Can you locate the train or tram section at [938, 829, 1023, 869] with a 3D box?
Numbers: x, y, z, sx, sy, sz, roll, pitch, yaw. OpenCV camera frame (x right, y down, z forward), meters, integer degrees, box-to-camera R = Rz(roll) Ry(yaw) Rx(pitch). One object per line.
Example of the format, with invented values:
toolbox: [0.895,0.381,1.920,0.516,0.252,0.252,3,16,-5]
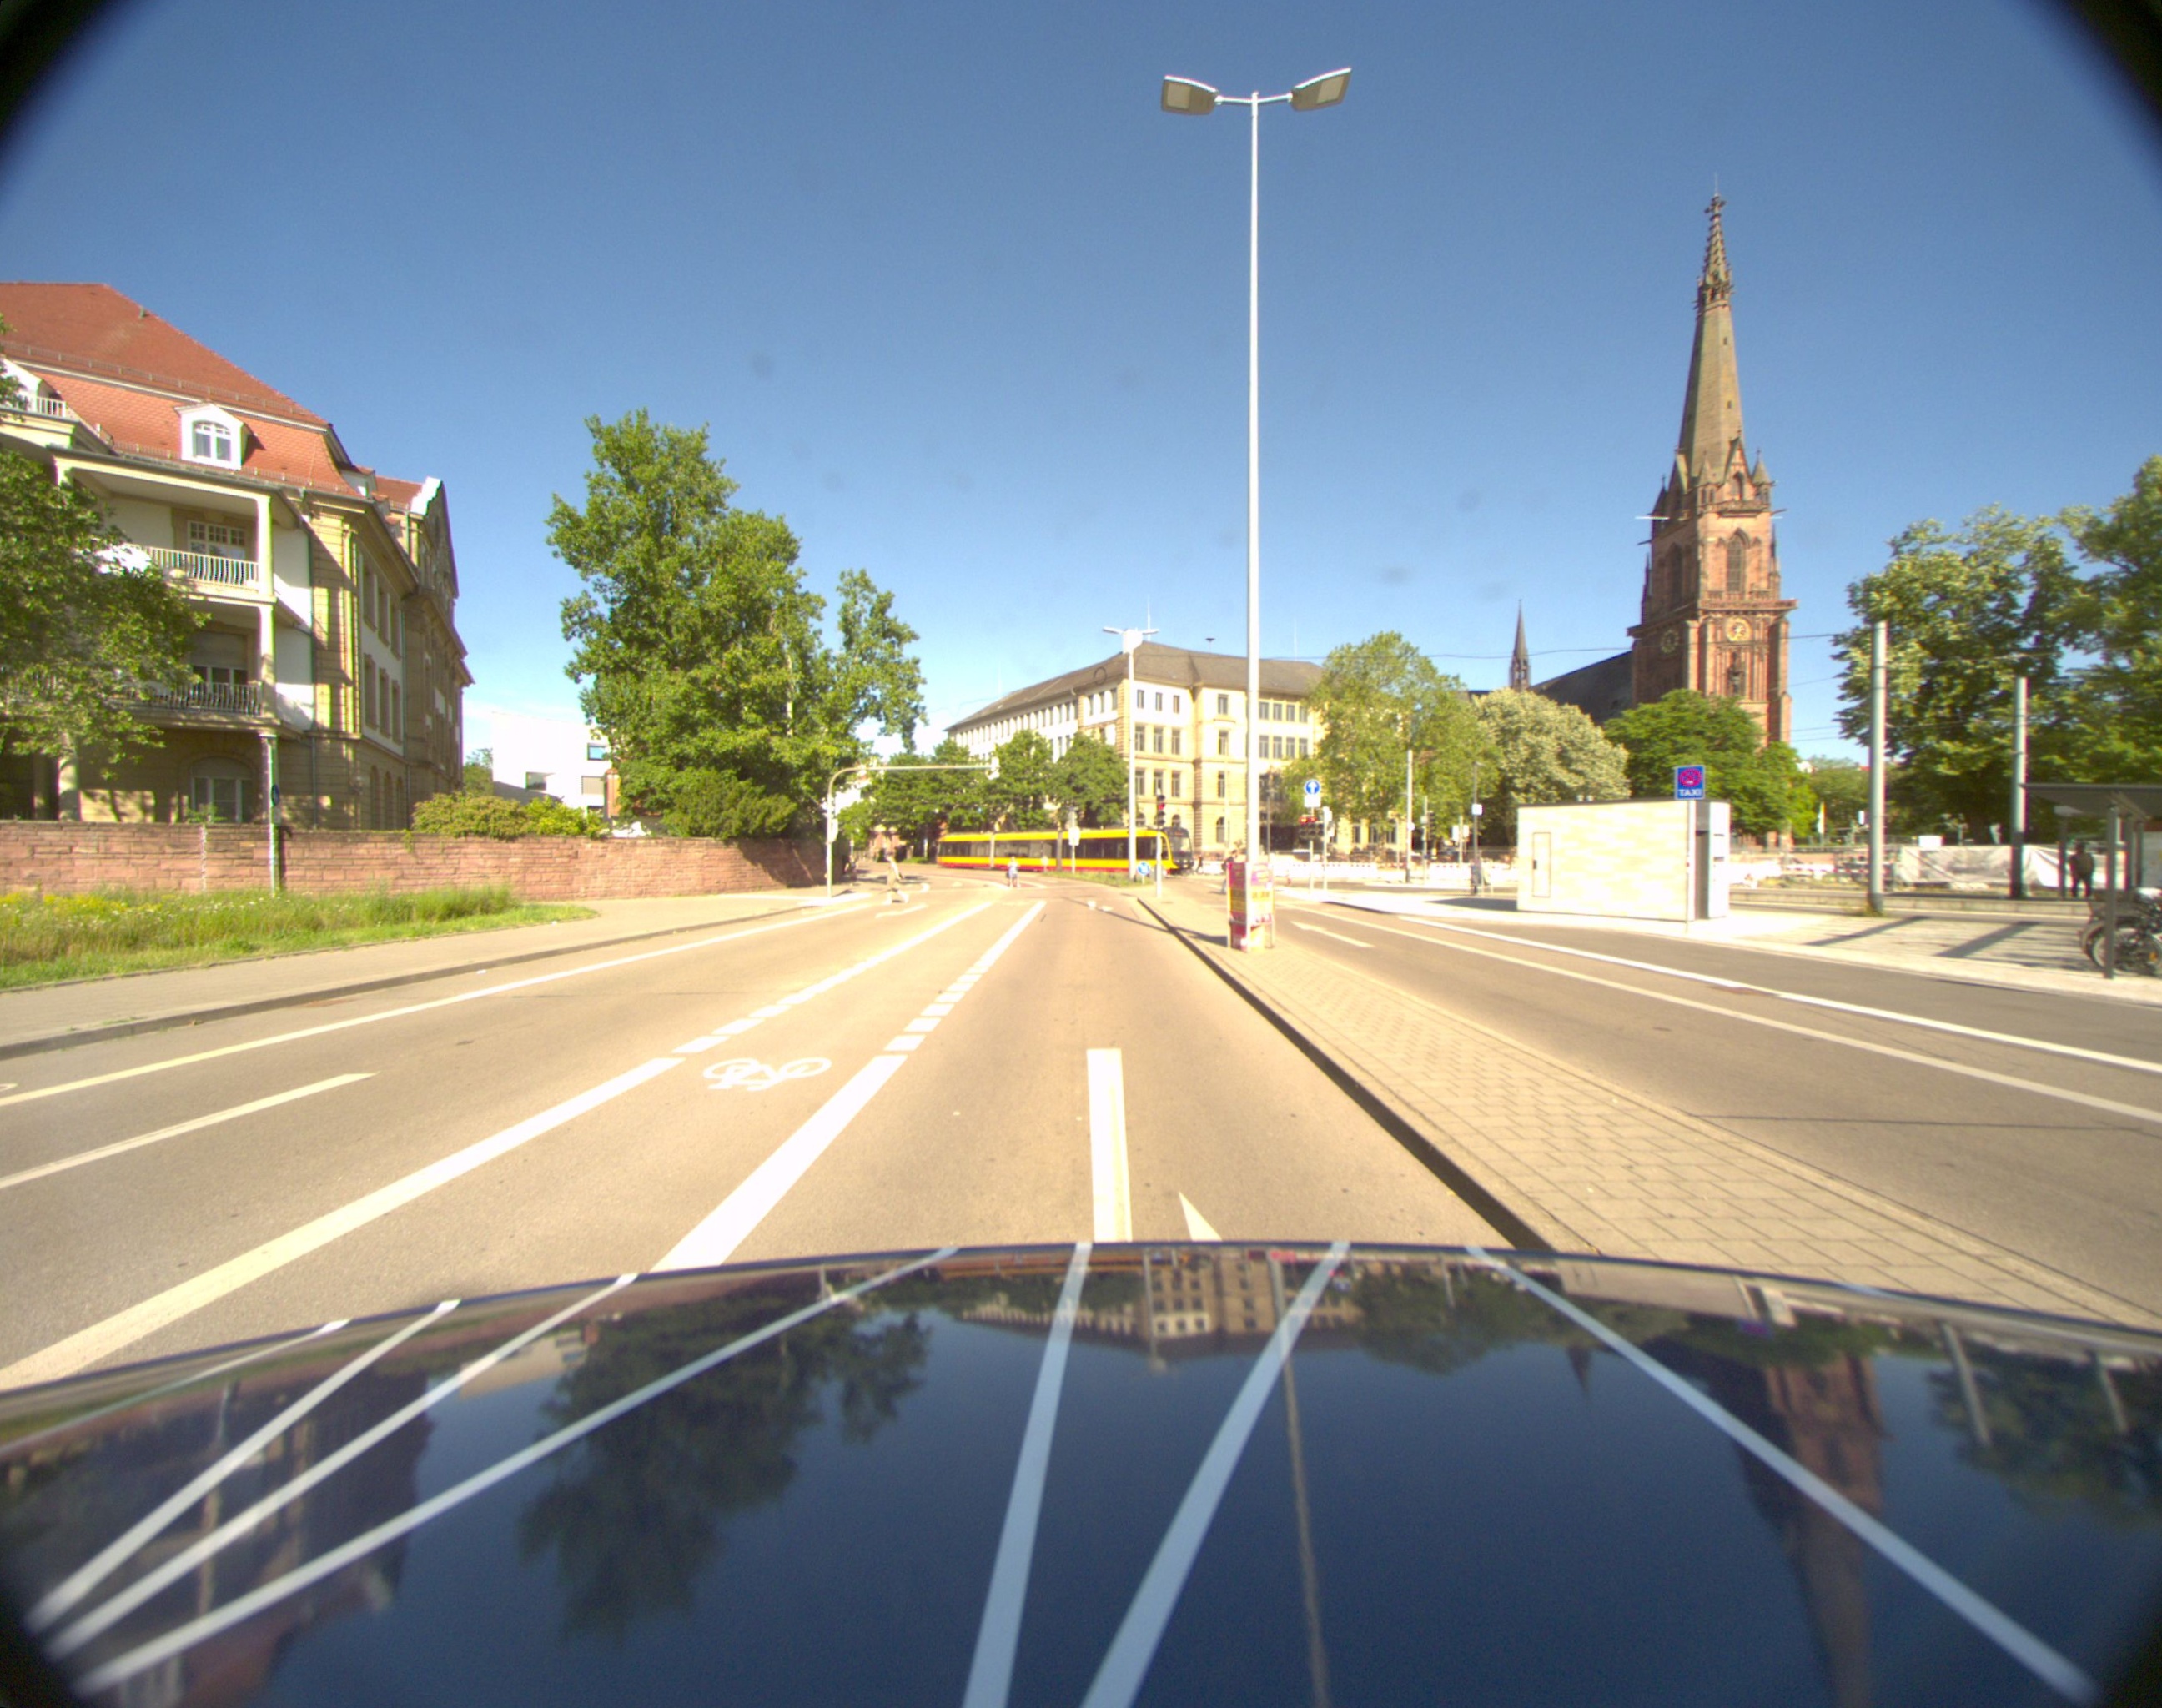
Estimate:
train or tram section: [-9.995,-0.463,73.966,2.806,3.580,12.504,-1,1,-35]

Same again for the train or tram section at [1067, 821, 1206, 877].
train or tram section: [3.600,-0.342,54.396,2.838,3.580,12.294,-1,1,-35]

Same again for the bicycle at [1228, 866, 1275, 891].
bicycle: [7.456,1.065,33.300,1.883,1.064,0.725,1,1,2]

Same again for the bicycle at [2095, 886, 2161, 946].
bicycle: [19.529,1.121,13.452,0.630,1.002,1.826,-1,1,-32]

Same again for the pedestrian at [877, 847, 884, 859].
pedestrian: [-30.237,-0.111,114.507,0.759,1.802,0.977,-1,1,-40]

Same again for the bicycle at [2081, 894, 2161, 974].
bicycle: [15.144,1.114,10.323,0.574,1.045,1.826,-1,1,-32]

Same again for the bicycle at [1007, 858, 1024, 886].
bicycle: [-3.436,0.914,39.715,0.762,1.360,2.736,0,1,-8]

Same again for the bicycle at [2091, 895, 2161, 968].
bicycle: [16.182,1.159,10.995,0.630,1.002,1.826,-1,1,-32]

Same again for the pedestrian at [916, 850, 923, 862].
pedestrian: [-23.771,0.278,111.931,0.980,1.802,0.757,0,1,-2]

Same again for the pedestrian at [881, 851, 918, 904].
pedestrian: [-6.465,0.807,27.019,1.230,1.845,0.826,0,1,-15]

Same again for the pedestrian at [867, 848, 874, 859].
pedestrian: [-33.539,-0.090,121.172,0.759,1.802,0.978,-1,1,-38]

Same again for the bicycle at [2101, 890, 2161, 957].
bicycle: [17.169,1.097,11.620,0.630,1.002,1.826,-1,1,-32]

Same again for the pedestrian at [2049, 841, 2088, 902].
pedestrian: [30.631,0.528,23.572,0.606,1.845,0.679,-1,1,-35]

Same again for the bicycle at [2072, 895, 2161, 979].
bicycle: [14.674,1.128,10.057,0.630,1.059,1.826,-1,1,-32]

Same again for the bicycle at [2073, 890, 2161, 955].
bicycle: [17.816,1.135,12.456,0.630,1.002,1.826,-1,1,-32]

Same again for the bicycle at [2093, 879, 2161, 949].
bicycle: [18.950,1.045,13.044,0.630,1.173,1.826,-1,1,-32]

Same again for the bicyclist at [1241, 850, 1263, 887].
bicyclist: [7.482,0.610,33.291,0.777,1.596,0.722,-1,1,1]

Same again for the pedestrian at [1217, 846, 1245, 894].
pedestrian: [5.921,0.626,29.964,0.960,1.839,0.731,1,1,5]

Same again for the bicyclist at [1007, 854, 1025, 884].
bicyclist: [-3.399,0.763,39.728,0.870,1.551,1.279,0,1,-8]

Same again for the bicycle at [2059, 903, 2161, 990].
bicycle: [13.936,1.205,9.586,0.702,1.002,1.863,-1,2,-32]

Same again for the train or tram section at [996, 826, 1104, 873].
train or tram section: [-2.897,-0.405,63.713,2.806,3.580,12.294,-1,1,-35]

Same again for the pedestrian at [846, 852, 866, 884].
pedestrian: [-12.045,0.741,40.752,0.940,1.711,0.994,0,1,-12]
